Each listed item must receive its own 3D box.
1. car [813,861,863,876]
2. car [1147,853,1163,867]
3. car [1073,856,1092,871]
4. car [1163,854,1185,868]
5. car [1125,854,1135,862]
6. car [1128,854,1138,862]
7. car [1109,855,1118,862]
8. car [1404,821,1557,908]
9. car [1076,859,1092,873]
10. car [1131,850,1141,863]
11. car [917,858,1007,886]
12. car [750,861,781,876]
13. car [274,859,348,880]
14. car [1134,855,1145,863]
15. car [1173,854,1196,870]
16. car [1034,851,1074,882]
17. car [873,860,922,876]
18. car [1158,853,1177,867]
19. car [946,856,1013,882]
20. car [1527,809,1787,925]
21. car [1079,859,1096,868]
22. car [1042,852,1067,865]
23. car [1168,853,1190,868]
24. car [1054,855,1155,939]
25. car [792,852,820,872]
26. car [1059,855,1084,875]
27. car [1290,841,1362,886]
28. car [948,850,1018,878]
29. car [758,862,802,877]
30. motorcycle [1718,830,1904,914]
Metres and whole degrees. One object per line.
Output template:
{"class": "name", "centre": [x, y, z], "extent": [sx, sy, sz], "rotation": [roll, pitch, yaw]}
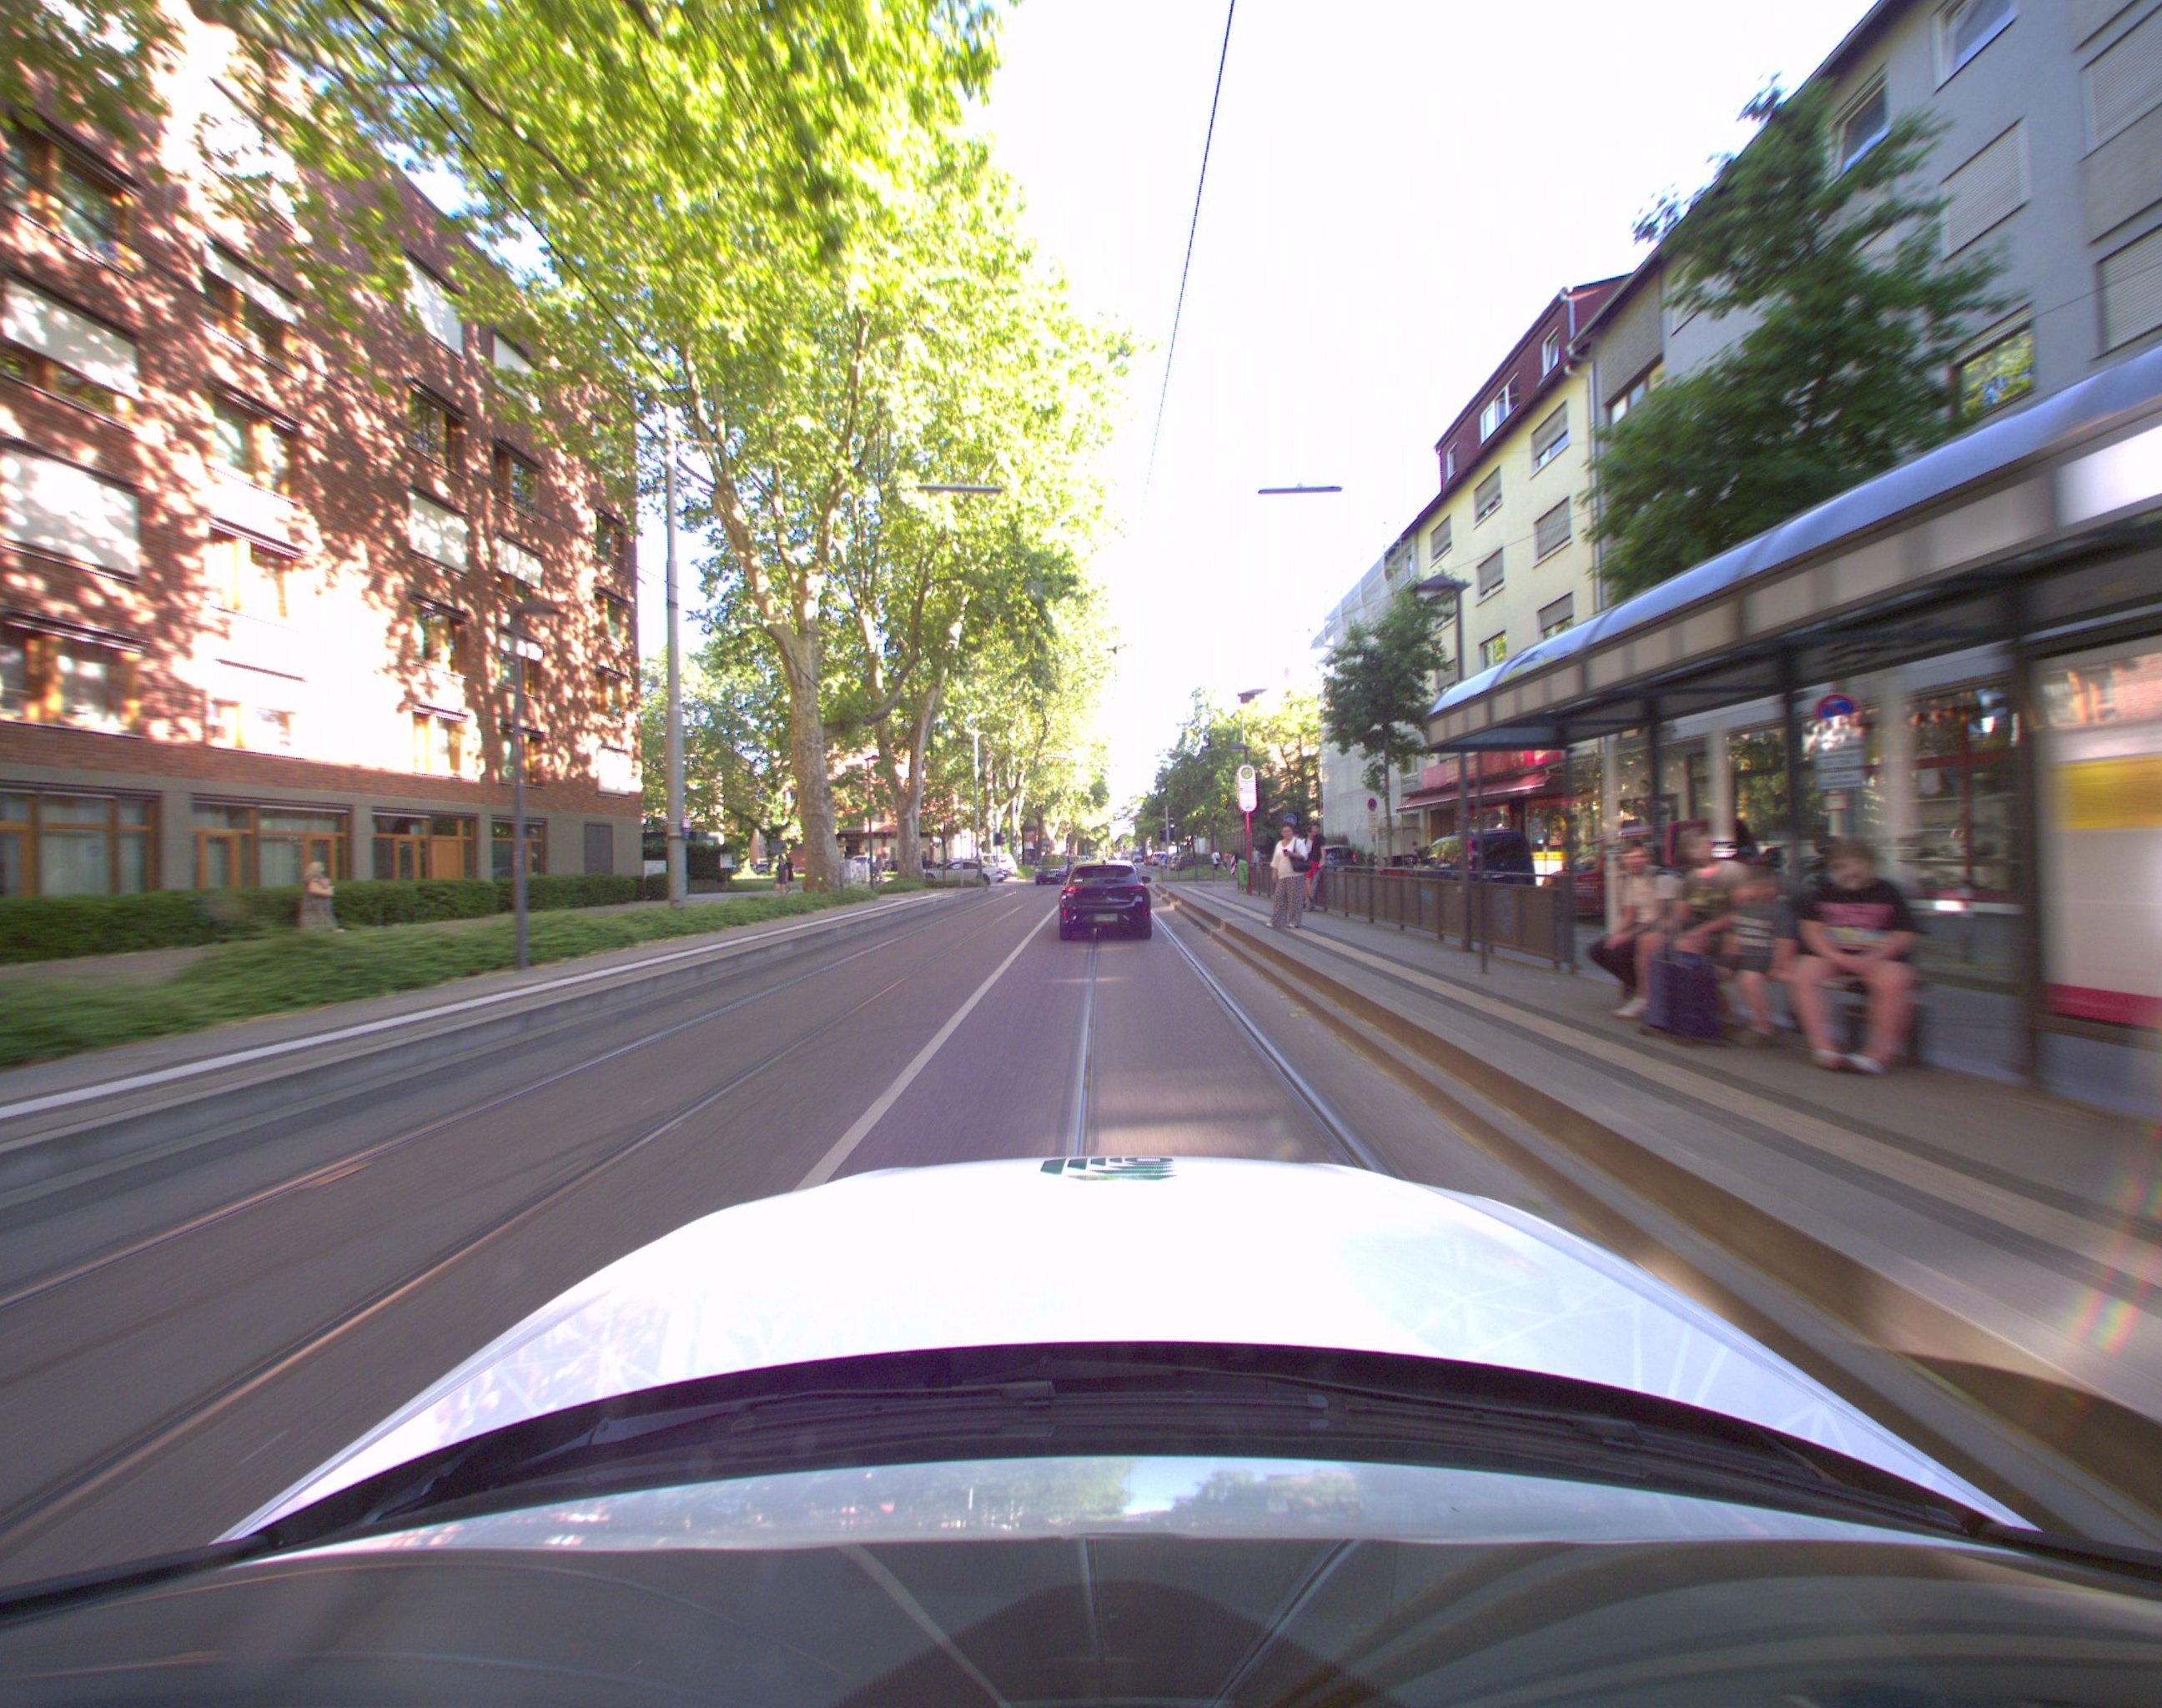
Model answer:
{"class": "car", "centre": [-23.946, 1.443, 80.489], "extent": [4.463, 1.450, 1.820], "rotation": [0, -1, -7]}
{"class": "car", "centre": [10.383, 0.883, 114.519], "extent": [1.877, 1.851, 4.969], "rotation": [-4, -1, 1]}
{"class": "car", "centre": [0.152, 0.966, 84.727], "extent": [1.768, 1.461, 4.206], "rotation": [0, 0, 2]}
{"class": "car", "centre": [10.736, 0.783, 94.307], "extent": [1.878, 1.467, 4.593], "rotation": [-4, -1, 0]}
{"class": "car", "centre": [12.981, 1.079, 216.588], "extent": [2.246, 1.840, 5.532], "rotation": [-2, -1, 1]}
{"class": "car", "centre": [12.515, 0.930, 195.636], "extent": [2.246, 1.840, 5.532], "rotation": [-2, -1, 1]}
{"class": "car", "centre": [8.857, 1.158, 223.686], "extent": [2.246, 1.840, 5.532], "rotation": [-2, -1, 1]}
{"class": "car", "centre": [10.210, 0.252, 21.229], "extent": [1.985, 1.896, 4.198], "rotation": [-5, 0, 3]}
{"class": "car", "centre": [0.415, 1.456, 101.371], "extent": [1.809, 1.568, 4.118], "rotation": [-3, -1, 2]}
{"class": "car", "centre": [12.240, 0.495, 181.875], "extent": [2.077, 2.772, 4.699], "rotation": [-2, 0, 1]}
{"class": "car", "centre": [-6.565, 0.994, 45.220], "extent": [4.753, 1.460, 1.953], "rotation": [0, -1, -3]}
{"class": "car", "centre": [-34.187, 1.549, 88.297], "extent": [1.942, 1.618, 4.475], "rotation": [0, 0, -6]}
{"class": "car", "centre": [-63.468, 1.249, 67.224], "extent": [1.881, 1.618, 4.113], "rotation": [0, 0, 6]}
{"class": "car", "centre": [11.742, 1.022, 164.572], "extent": [1.877, 1.434, 4.531], "rotation": [-4, -1, 1]}
{"class": "car", "centre": [9.951, 0.800, 78.290], "extent": [1.667, 1.412, 3.842], "rotation": [-4, -1, 0]}
{"class": "car", "centre": [-1.508, 0.701, 47.473], "extent": [1.986, 1.716, 5.144], "rotation": [0, 0, 1]}
{"class": "car", "centre": [-18.305, 1.389, 81.184], "extent": [4.519, 1.489, 1.857], "rotation": [0, -1, -5]}
{"class": "car", "centre": [10.474, 0.772, 99.158], "extent": [1.877, 1.568, 4.243], "rotation": [-4, -1, 1]}
{"class": "car", "centre": [-6.635, 0.956, 53.635], "extent": [4.126, 1.646, 1.902], "rotation": [0, -1, 0]}
{"class": "car", "centre": [9.913, 0.206, 14.483], "extent": [1.683, 1.755, 4.173], "rotation": [0, 0, 0]}
{"class": "car", "centre": [0.988, 1.397, 120.219], "extent": [1.664, 1.444, 3.455], "rotation": [0, 0, -15]}
{"class": "car", "centre": [-5.748, 1.049, 174.245], "extent": [5.017, 2.374, 2.082], "rotation": [-5, -1, 1]}
{"class": "car", "centre": [10.204, 0.697, 85.108], "extent": [1.877, 1.368, 4.108], "rotation": [-4, -1, 1]}
{"class": "car", "centre": [0.476, 0.767, 16.240], "extent": [1.757, 1.460, 3.952], "rotation": [0, 0, 2]}
{"class": "car", "centre": [-29.732, 0.855, 88.113], "extent": [1.992, 2.003, 4.907], "rotation": [0, 0, -7]}
{"class": "car", "centre": [-0.819, 0.939, 71.288], "extent": [1.901, 1.638, 4.323], "rotation": [-2, -1, 2]}
{"class": "car", "centre": [9.987, 0.355, 33.492], "extent": [1.755, 1.621, 4.445], "rotation": [-3, 0, 3]}
{"class": "car", "centre": [-6.656, 0.678, 55.838], "extent": [4.556, 1.834, 1.938], "rotation": [0, -1, 0]}
{"class": "car", "centre": [-29.607, 1.518, 80.228], "extent": [3.700, 1.450, 1.686], "rotation": [0, -1, -4]}
{"class": "motorcycle", "centre": [13.306, 0.271, 15.012], "extent": [0.949, 1.316, 2.650], "rotation": [-6, 1, 0]}
